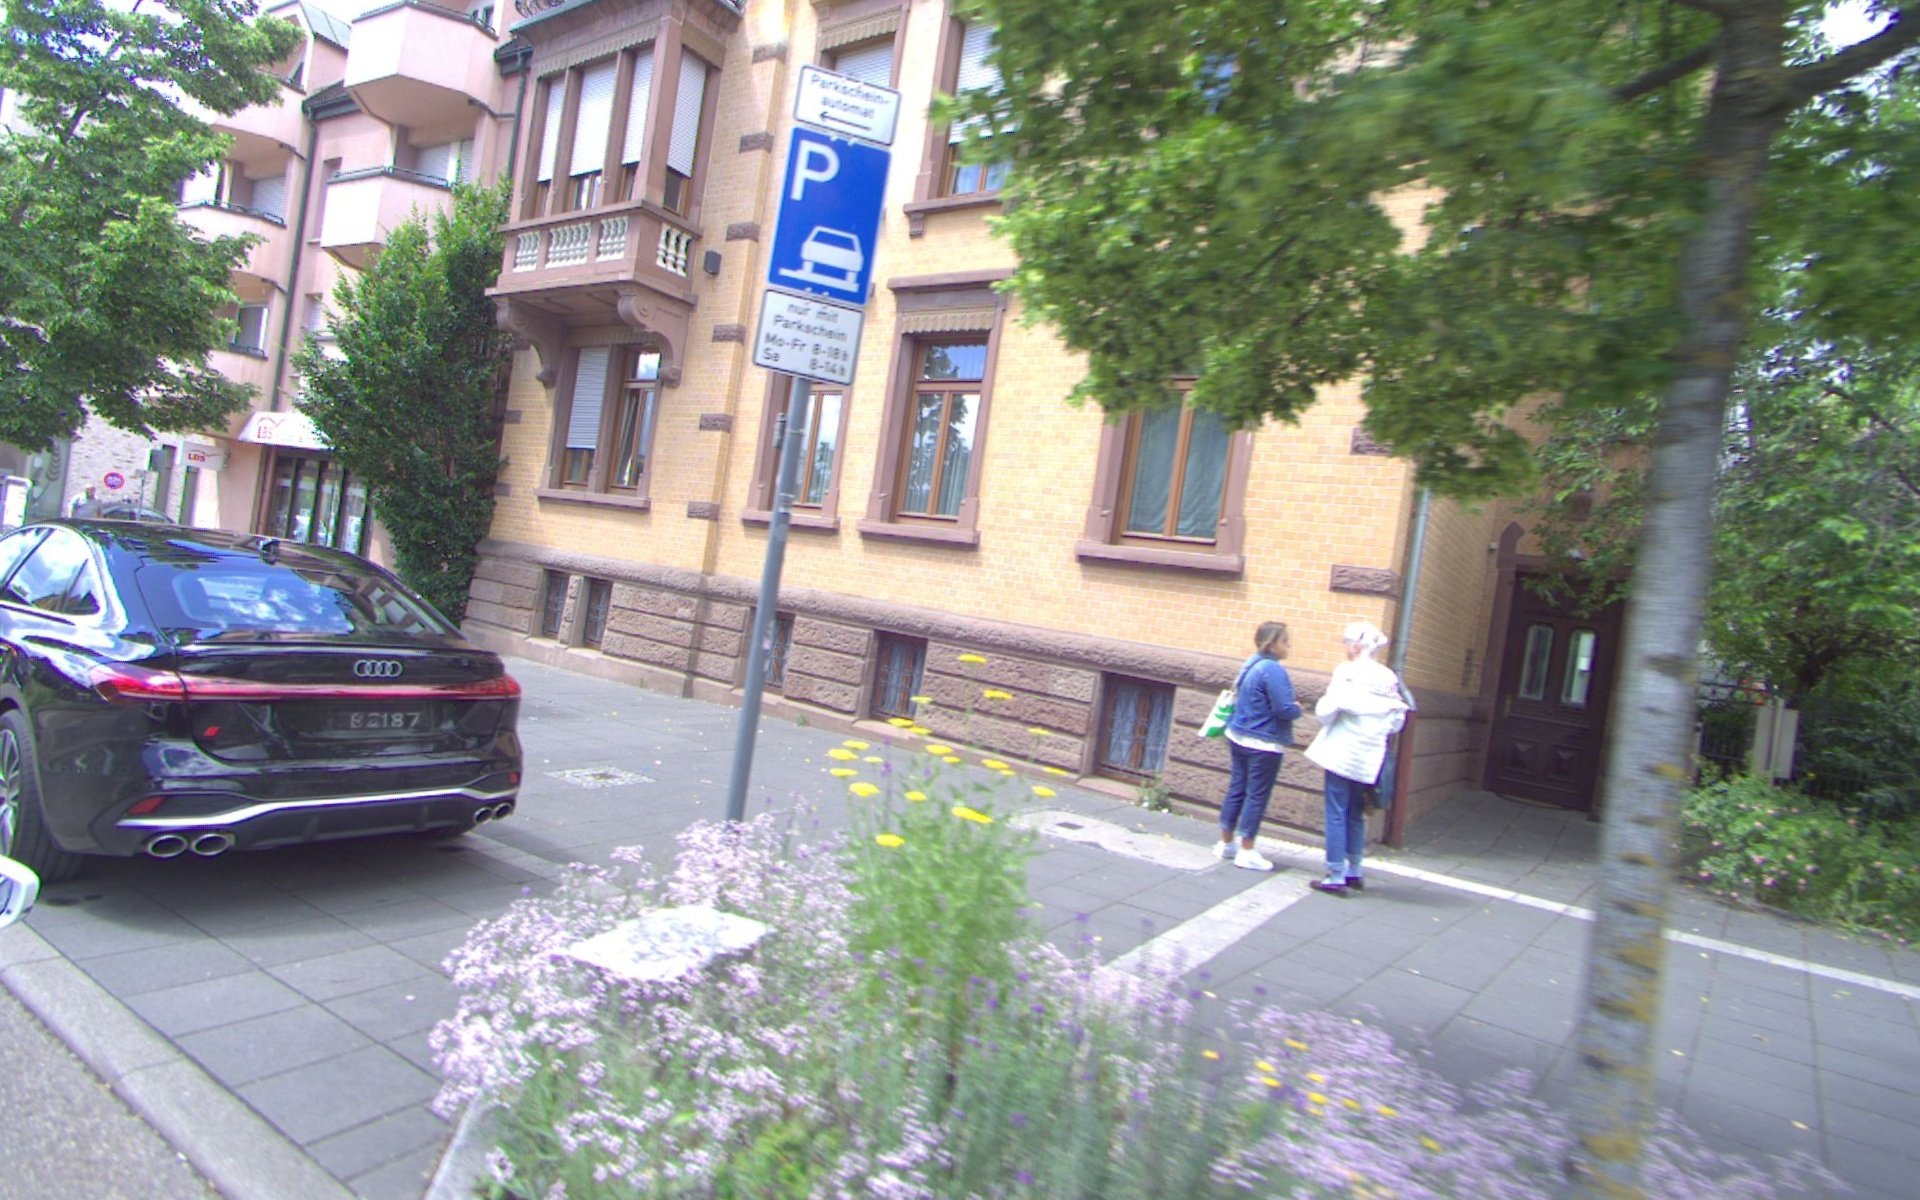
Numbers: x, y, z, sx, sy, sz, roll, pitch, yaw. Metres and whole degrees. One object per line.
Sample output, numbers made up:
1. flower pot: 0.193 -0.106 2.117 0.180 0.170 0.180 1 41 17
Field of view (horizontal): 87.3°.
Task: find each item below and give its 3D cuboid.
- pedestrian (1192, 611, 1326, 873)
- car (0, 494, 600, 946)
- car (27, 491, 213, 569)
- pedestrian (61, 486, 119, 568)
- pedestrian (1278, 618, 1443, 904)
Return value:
1. pedestrian: 2.015 0.934 6.790 0.502 1.650 0.504 6 1 -41
2. car: -4.062 0.288 5.280 4.305 1.423 1.857 7 0 35
3. car: -26.399 -2.157 31.754 1.816 1.583 3.998 7 -4 32
4. pedestrian: -18.902 -1.586 21.850 0.688 1.646 0.632 8 0 31
5. pedestrian: 2.497 0.975 6.336 0.664 1.650 0.554 7 1 6
